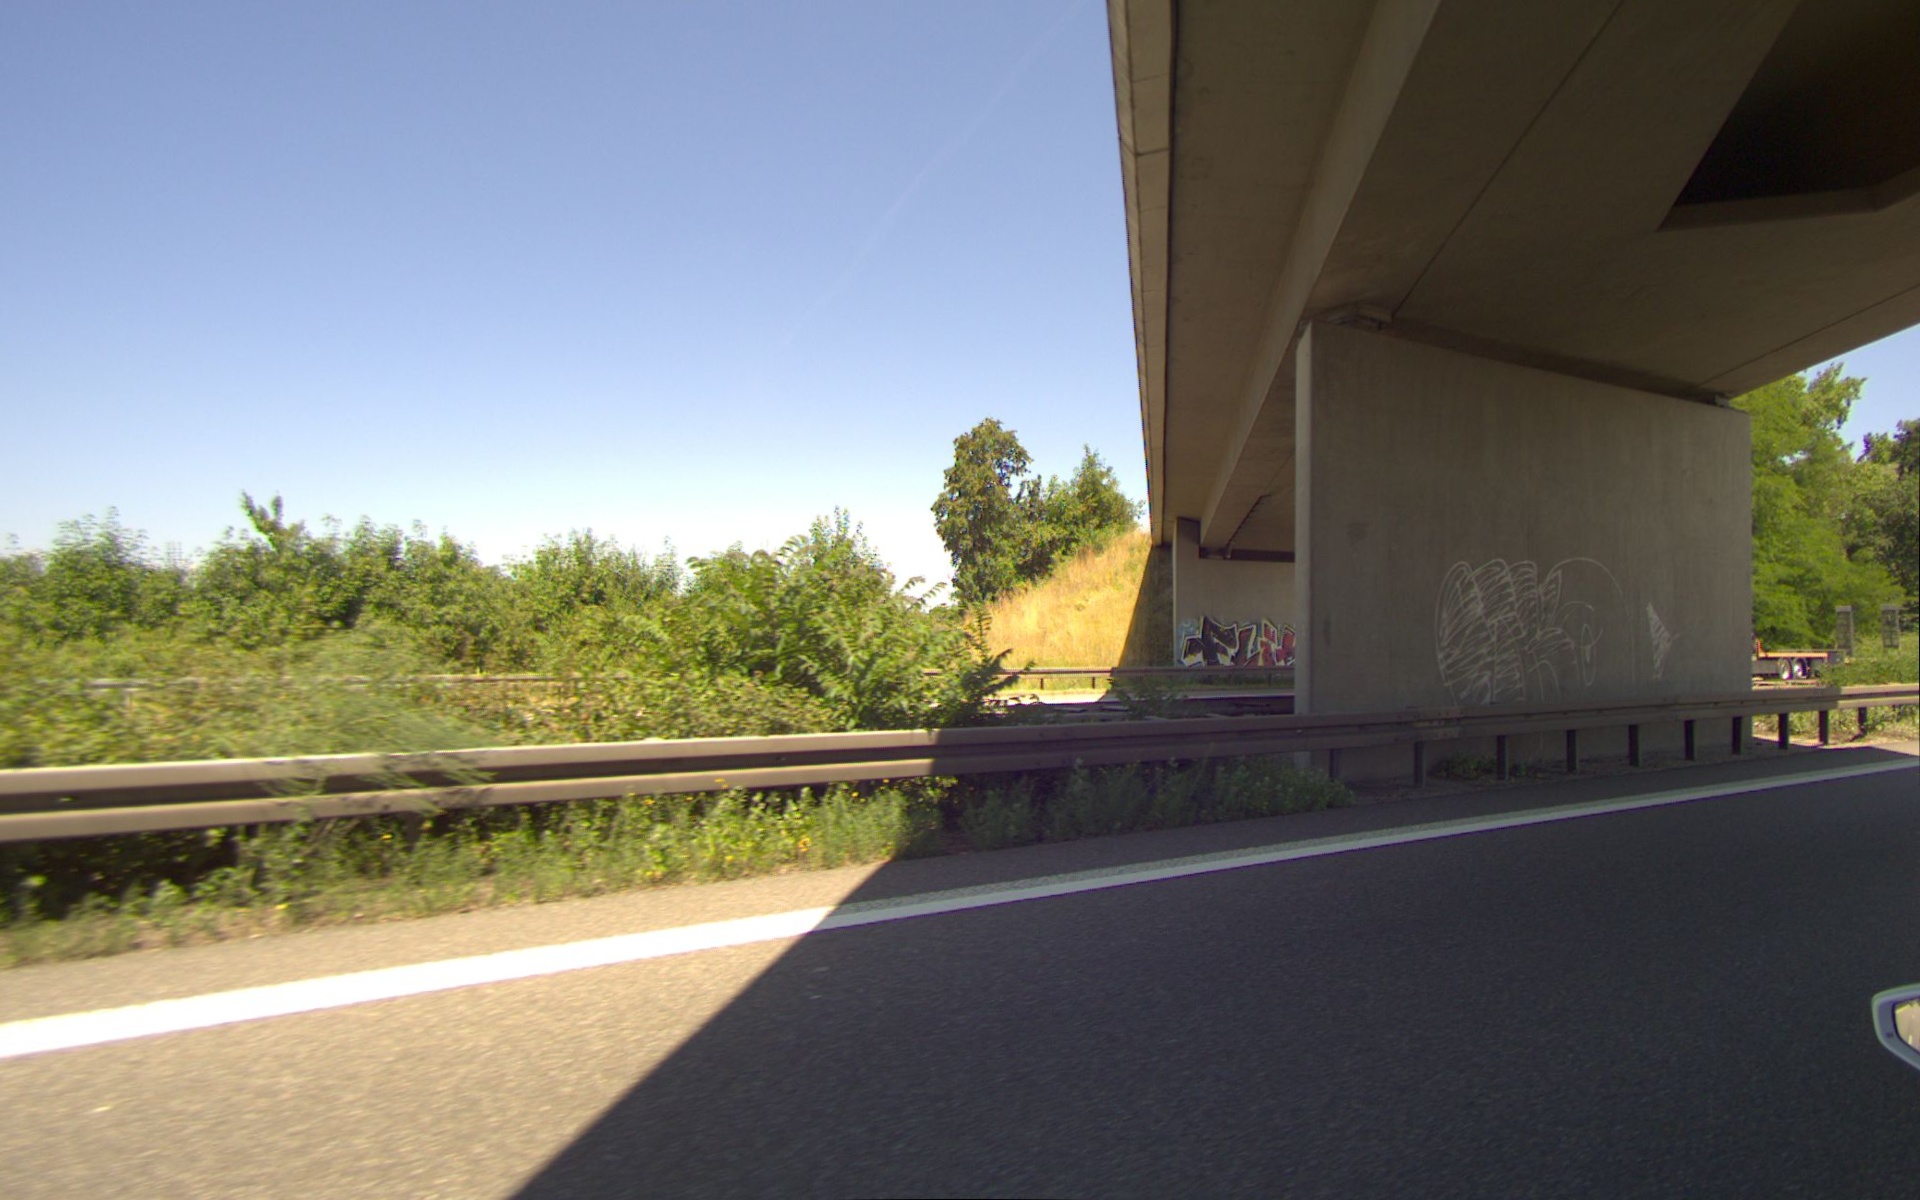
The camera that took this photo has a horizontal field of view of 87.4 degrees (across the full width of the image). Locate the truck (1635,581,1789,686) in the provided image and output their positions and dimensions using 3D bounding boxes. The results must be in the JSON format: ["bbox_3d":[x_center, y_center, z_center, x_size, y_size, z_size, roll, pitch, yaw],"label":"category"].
[{"bbox_3d":[30.323,1.312,40.445,6.424,3.950,2.599,1,0,-30],"label":"truck"}]

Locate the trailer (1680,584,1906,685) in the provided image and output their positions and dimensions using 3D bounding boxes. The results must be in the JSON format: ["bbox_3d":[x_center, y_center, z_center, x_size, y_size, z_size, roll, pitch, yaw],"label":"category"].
[{"bbox_3d":[37.228,1.504,44.518,15.400,3.936,2.599,1,0,-31],"label":"trailer"}]
